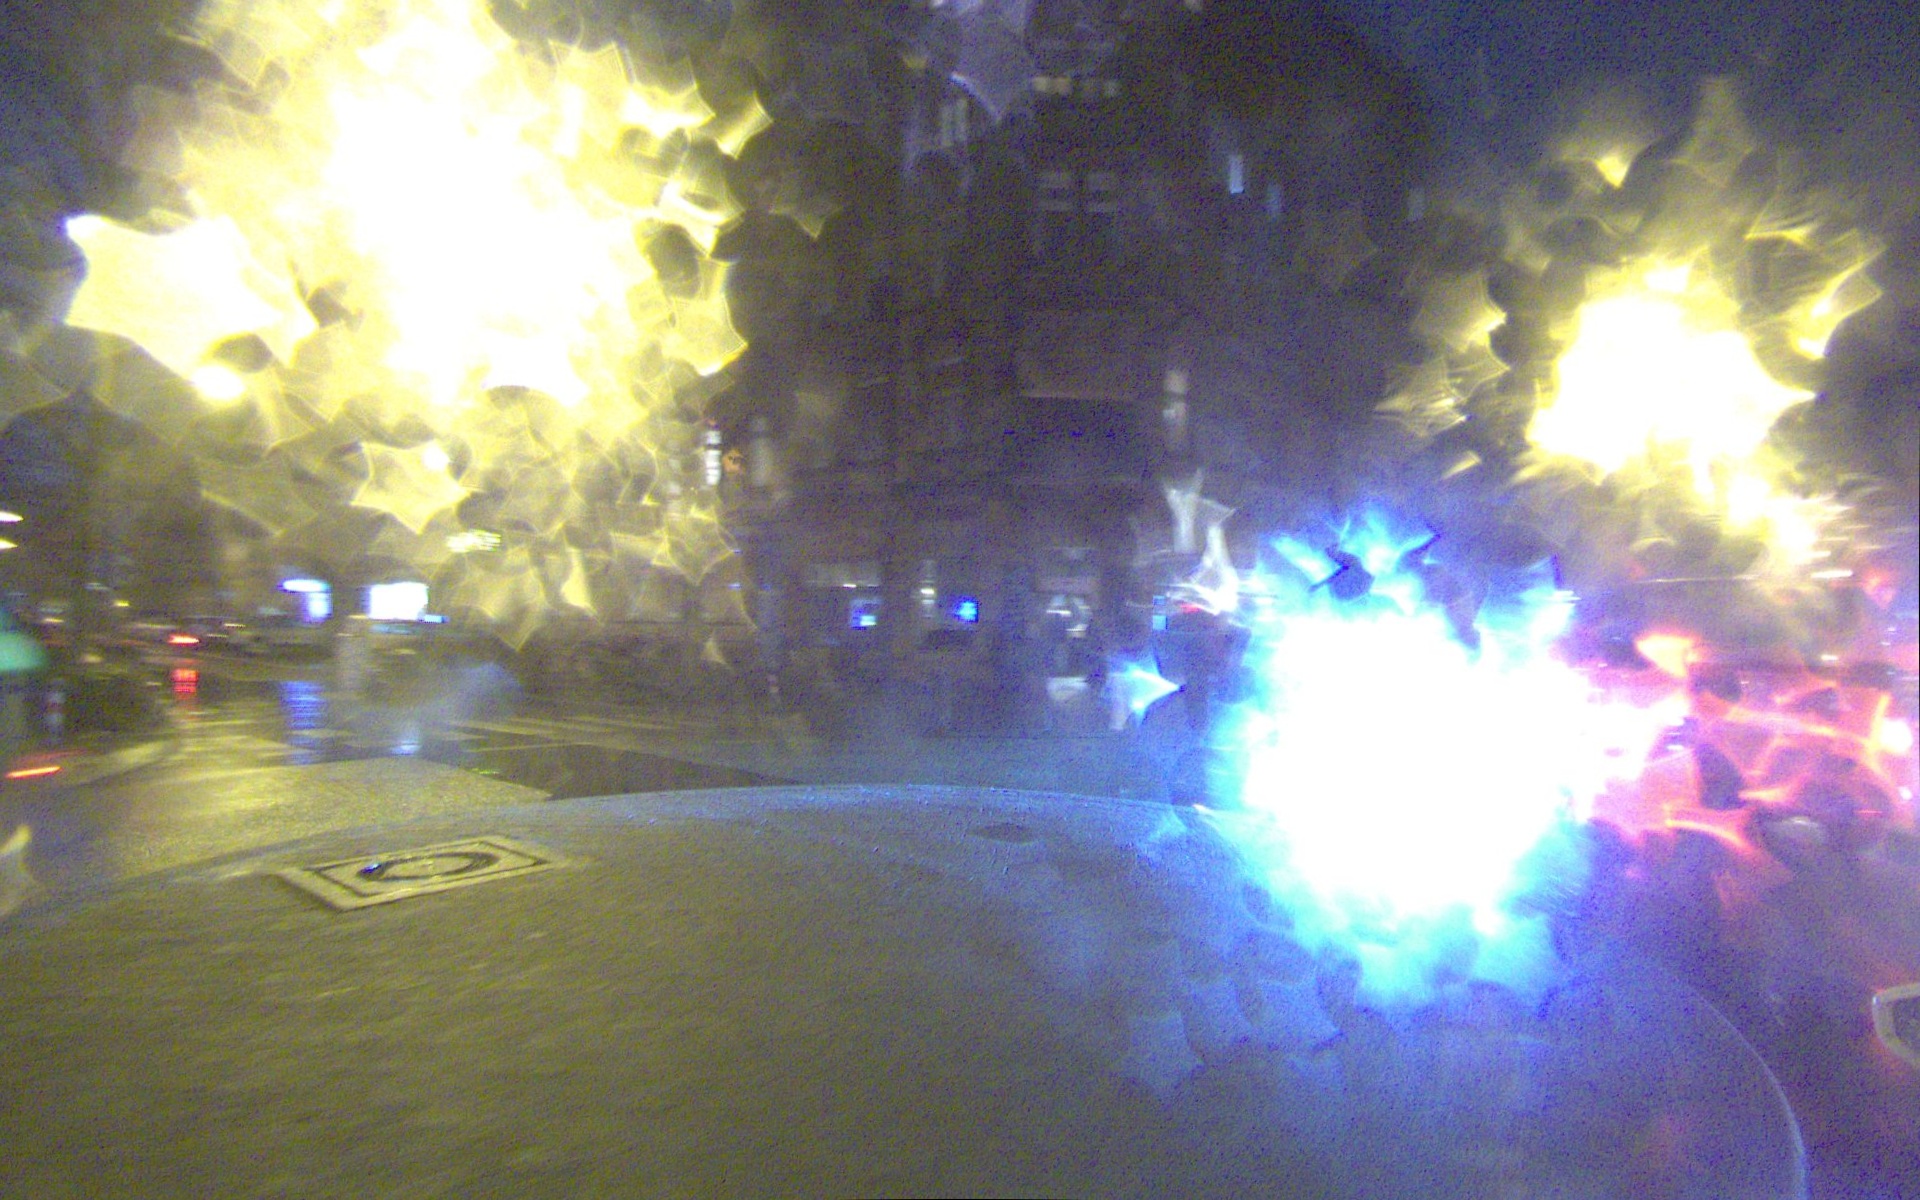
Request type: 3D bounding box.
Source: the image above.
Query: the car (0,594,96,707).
[{"bbox_3d":[-18.798,0.899,18.712,3.973,2.040,1.974,3,0,-44],"label":"car"}]

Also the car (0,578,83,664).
[{"bbox_3d":[-24.087,0.461,24.480,3.973,2.040,1.974,3,0,-44],"label":"car"}]

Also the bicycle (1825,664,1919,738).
[{"bbox_3d":[14.891,1.595,15.910,1.742,1.139,0.433,-5,-4,42],"label":"bicycle"}]

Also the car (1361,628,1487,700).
[{"bbox_3d":[11.362,1.499,24.473,1.569,1.483,4.001,4,1,43],"label":"car"}]

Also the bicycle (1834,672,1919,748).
[{"bbox_3d":[14.513,1.683,15.350,1.742,1.093,0.433,0,-1,42],"label":"bicycle"}]

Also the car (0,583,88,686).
[{"bbox_3d":[-20.468,0.653,20.459,3.973,2.040,1.974,3,0,-44],"label":"car"}]

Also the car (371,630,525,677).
[{"bbox_3d":[-14.911,1.534,29.369,1.570,1.292,3.697,-2,-3,45],"label":"car"}]

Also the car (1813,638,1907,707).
[{"bbox_3d":[24.143,1.903,27.010,1.733,1.629,3.970,2,-1,41],"label":"car"}]

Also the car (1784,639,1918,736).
[{"bbox_3d":[17.089,1.617,19.336,1.733,1.586,4.134,2,-1,41],"label":"car"}]

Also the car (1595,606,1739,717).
[{"bbox_3d":[14.577,1.167,20.585,2.097,1.948,4.805,1,-1,39],"label":"car"}]

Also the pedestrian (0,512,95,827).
[{"bbox_3d":[-5.957,0.403,5.964,0.704,1.835,1.120,0,-1,39],"label":"pedestrian"}]

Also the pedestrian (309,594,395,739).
[{"bbox_3d":[-8.296,0.888,13.700,0.937,1.882,0.792,1,-3,-34],"label":"pedestrian"}]

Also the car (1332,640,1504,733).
[{"bbox_3d":[8.215,1.441,17.842,1.547,1.446,4.045,-2,-3,44],"label":"car"}]

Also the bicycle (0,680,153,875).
[{"bbox_3d":[-5.979,1.060,5.923,0.704,1.073,1.794,0,-1,39],"label":"bicycle"}]

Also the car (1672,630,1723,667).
[{"bbox_3d":[44.004,2.877,59.919,1.971,2.040,3.979,2,0,42],"label":"car"}]

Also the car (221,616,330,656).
[{"bbox_3d":[-29.469,1.555,43.310,1.570,1.649,3.649,-2,-3,45],"label":"car"}]

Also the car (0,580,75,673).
[{"bbox_3d":[-22.556,0.552,22.521,3.973,2.040,1.974,3,0,-44],"label":"car"}]

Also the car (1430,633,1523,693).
[{"bbox_3d":[14.278,1.694,27.736,1.569,1.530,2.771,1,-1,43],"label":"car"}]

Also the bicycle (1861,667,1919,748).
[{"bbox_3d":[14.149,1.563,14.434,1.763,1.140,0.433,-1,-2,42],"label":"bicycle"}]

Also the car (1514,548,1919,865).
[{"bbox_3d":[6.291,0.722,8.838,2.089,2.018,4.598,1,-1,24],"label":"car"}]

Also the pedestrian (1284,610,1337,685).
[{"bbox_3d":[8.703,1.172,24.947,1.008,1.789,0.797,3,0,-41],"label":"pedestrian"}]

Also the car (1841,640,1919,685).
[{"bbox_3d":[44.659,2.996,47.647,3.926,2.040,1.998,0,-3,27],"label":"car"}]

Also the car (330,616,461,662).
[{"bbox_3d":[-18.366,1.272,32.776,1.570,1.422,3.440,-2,-3,45],"label":"car"}]

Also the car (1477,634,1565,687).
[{"bbox_3d":[17.275,1.819,30.857,1.569,1.468,3.483,1,-1,43],"label":"car"}]
